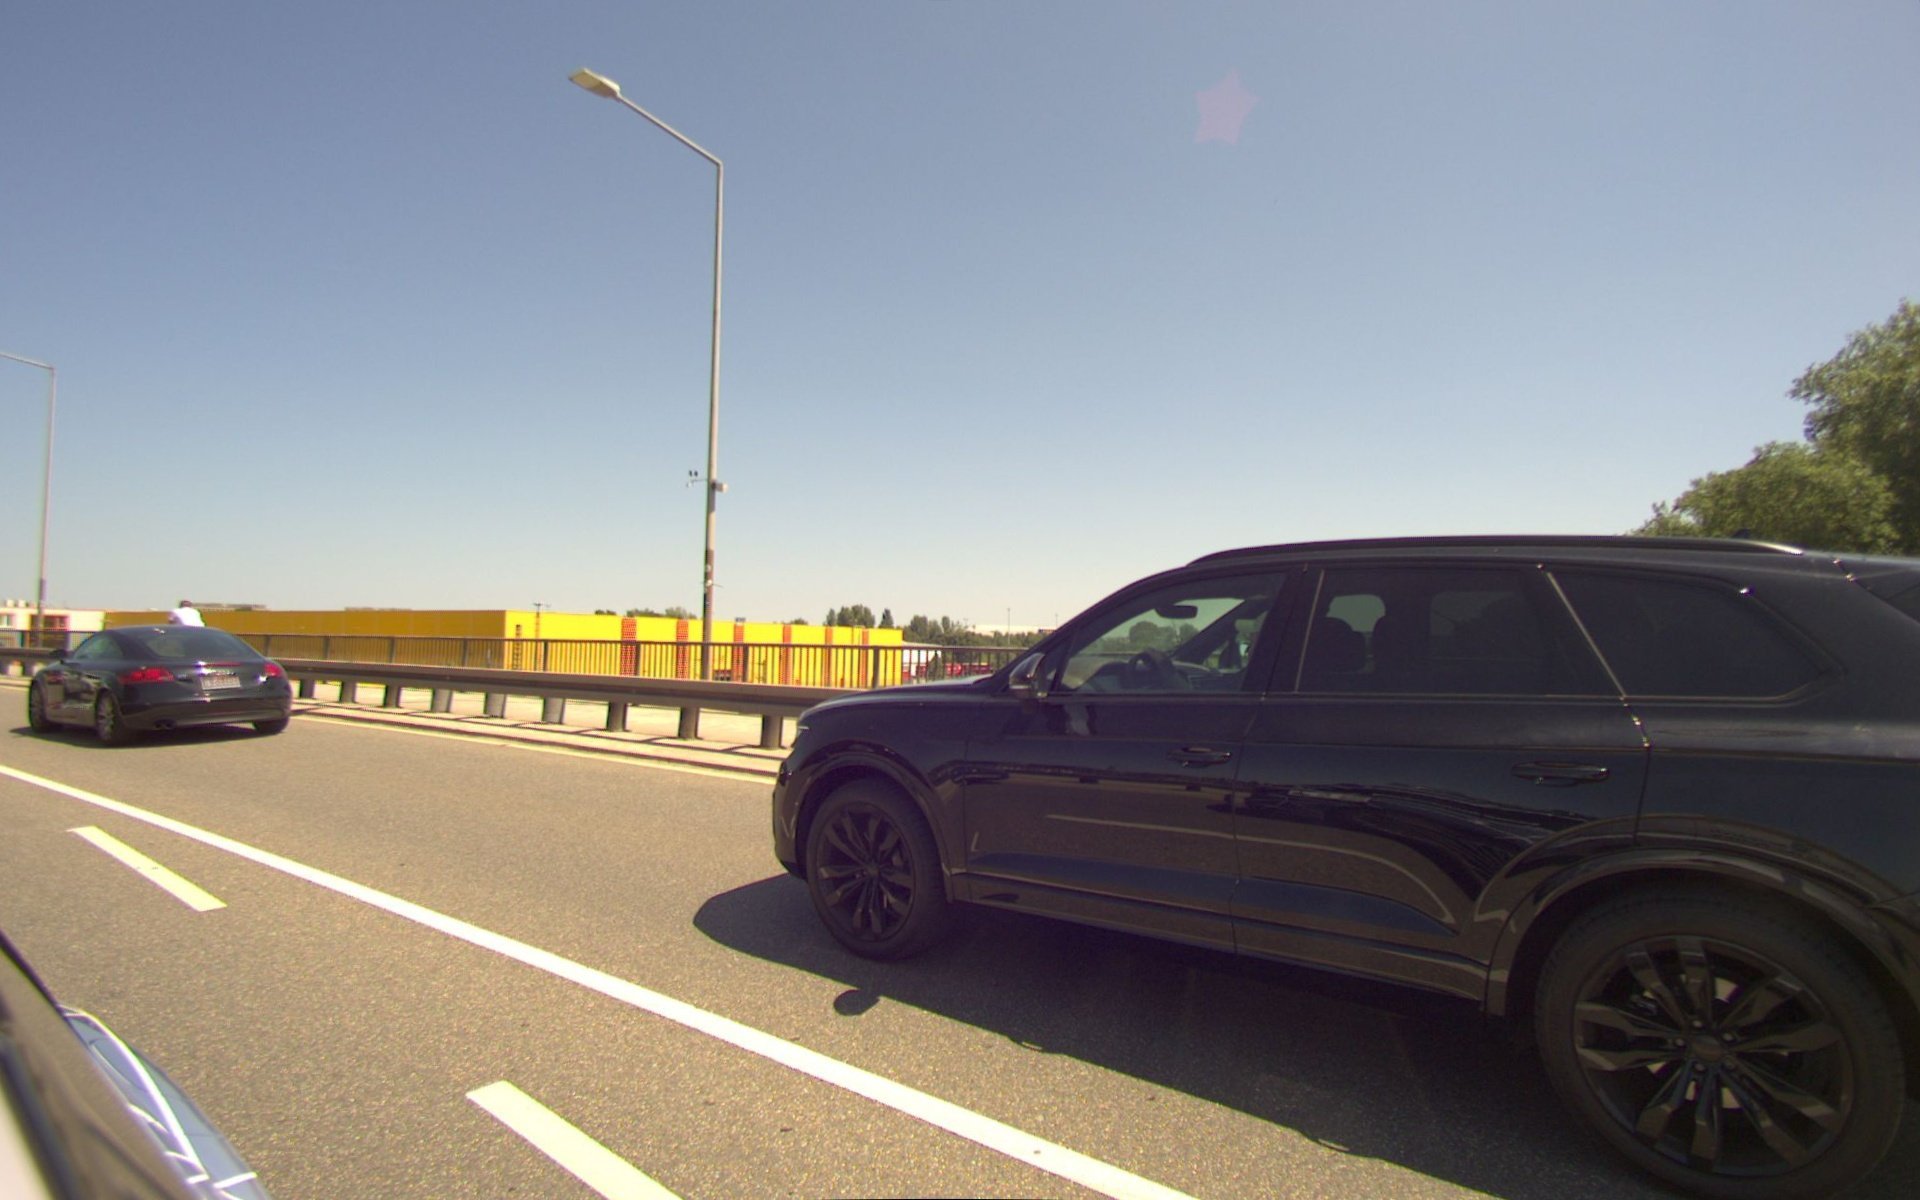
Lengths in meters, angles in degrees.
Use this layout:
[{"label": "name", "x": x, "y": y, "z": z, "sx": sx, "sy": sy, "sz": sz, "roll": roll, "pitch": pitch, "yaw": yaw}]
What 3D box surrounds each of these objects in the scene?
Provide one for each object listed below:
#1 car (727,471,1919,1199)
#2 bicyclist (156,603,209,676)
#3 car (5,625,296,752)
[{"label": "car", "x": 1.344, "y": 0.576, "z": 3.953, "sx": 4.608, "sy": 1.686, "sz": 1.947, "roll": -1, "pitch": 0, "yaw": 39}, {"label": "bicyclist", "x": -16.622, "y": 0.838, "z": 21.644, "sx": 0.892, "sy": 1.533, "sz": 0.579, "roll": -1, "pitch": -1, "yaw": 29}, {"label": "car", "x": -10.022, "y": 0.978, "z": 12.468, "sx": 3.961, "sy": 1.318, "sz": 1.665, "roll": -1, "pitch": -1, "yaw": 33}]
